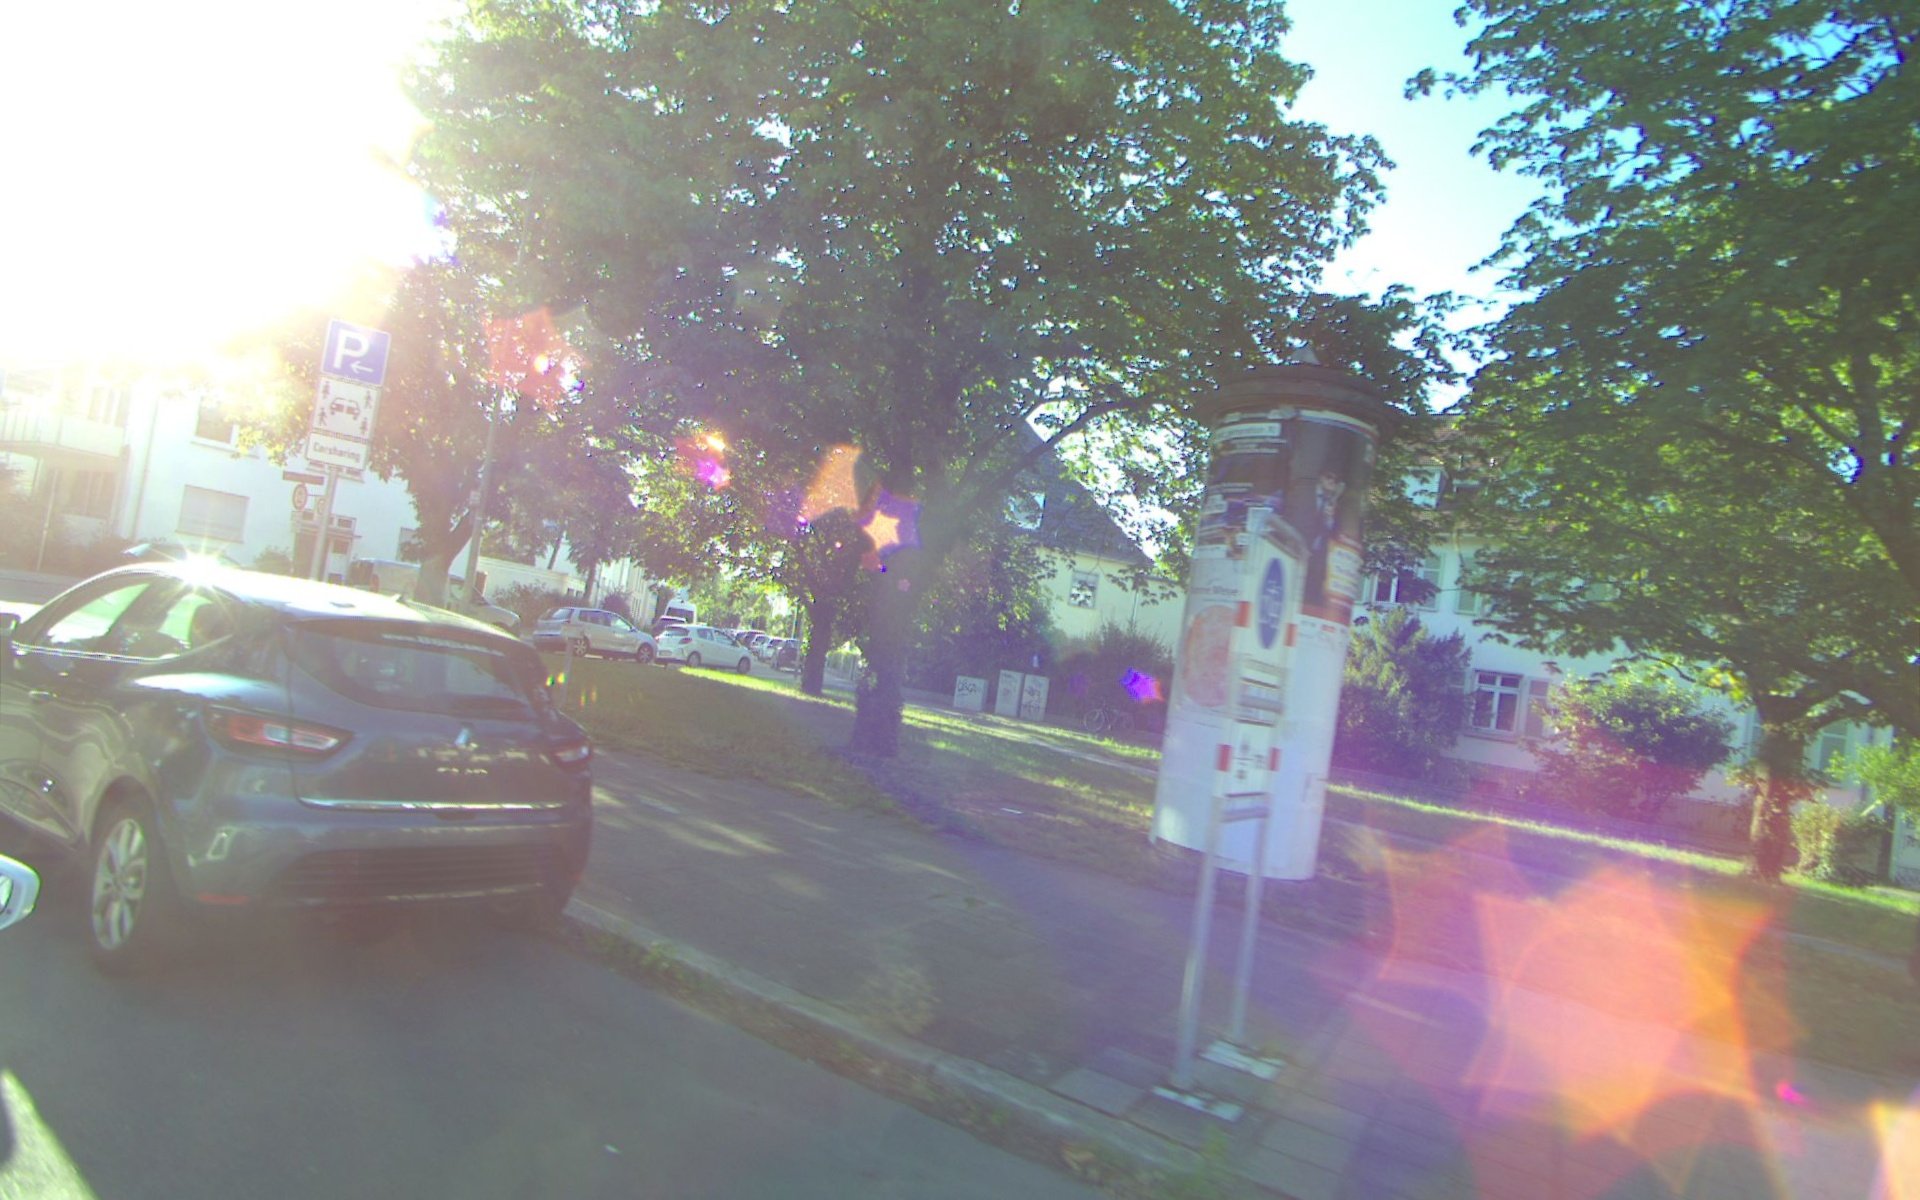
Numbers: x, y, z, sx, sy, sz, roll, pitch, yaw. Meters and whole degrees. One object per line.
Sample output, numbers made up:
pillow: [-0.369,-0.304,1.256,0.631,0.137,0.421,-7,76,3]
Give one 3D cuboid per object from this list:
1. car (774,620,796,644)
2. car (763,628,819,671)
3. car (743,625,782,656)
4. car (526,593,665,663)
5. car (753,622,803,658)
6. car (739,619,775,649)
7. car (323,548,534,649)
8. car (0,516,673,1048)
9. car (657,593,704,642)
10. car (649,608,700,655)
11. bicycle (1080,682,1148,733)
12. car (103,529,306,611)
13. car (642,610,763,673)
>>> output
car: [-18.623,3.435,107.178,1.968,2.032,4.001,10,-6,-10]
car: [-7.667,2.201,45.410,1.970,1.568,3.992,10,-3,-14]
car: [-13.770,2.863,70.114,1.973,1.737,3.821,11,-6,-18]
car: [-10.803,0.884,30.043,1.578,1.531,3.566,6,-5,29]
car: [-9.923,2.163,54.633,1.972,1.586,4.097,10,-4,-17]
car: [-15.290,2.576,75.574,1.904,1.872,3.992,11,-6,-17]
car: [-13.735,0.014,26.234,1.999,1.894,4.252,5,-5,34]
car: [-3.712,0.529,5.054,4.468,1.526,1.730,6,-4,34]
car: [-16.889,1.129,60.952,2.080,2.359,4.519,10,-6,-11]
car: [-15.437,1.752,54.572,1.968,2.032,4.002,10,-6,-9]
bicycle: [4.766,3.324,31.137,1.923,1.252,0.450,7,-2,34]
car: [-20.601,-0.781,27.605,1.689,1.461,3.997,5,-5,34]
car: [-8.641,1.448,34.050,1.498,1.538,3.937,5,-6,30]
